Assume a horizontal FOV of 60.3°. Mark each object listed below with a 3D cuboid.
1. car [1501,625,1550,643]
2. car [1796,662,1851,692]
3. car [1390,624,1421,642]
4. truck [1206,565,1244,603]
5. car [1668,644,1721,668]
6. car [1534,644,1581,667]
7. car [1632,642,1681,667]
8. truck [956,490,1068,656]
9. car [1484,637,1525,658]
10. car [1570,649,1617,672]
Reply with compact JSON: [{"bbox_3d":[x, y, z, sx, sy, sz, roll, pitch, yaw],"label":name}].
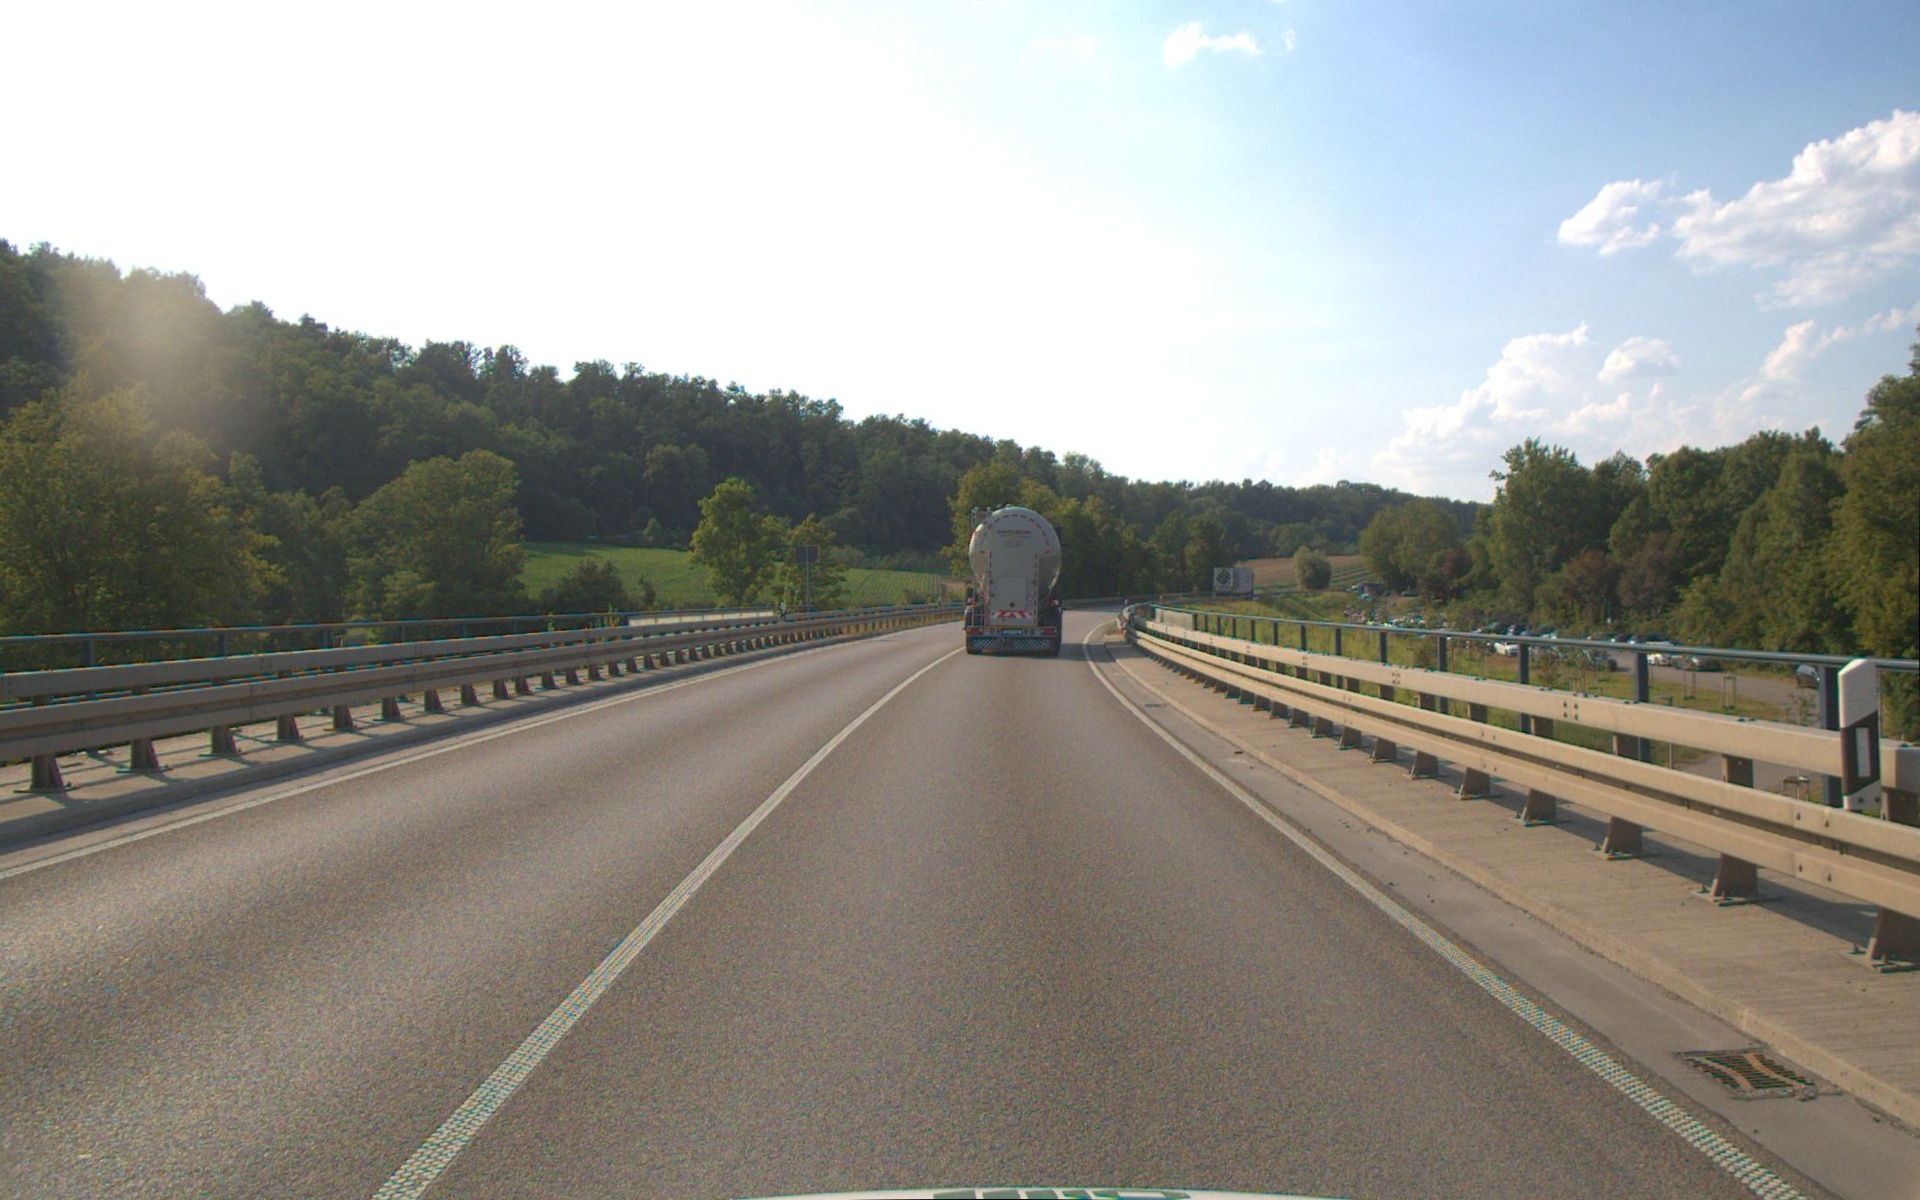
[{"bbox_3d":[55.641,3.348,162.838,4.146,1.632,1.833,1,0,-1],"label":"car"},{"bbox_3d":[50.212,4.460,96.226,1.619,1.523,3.832,0,0,7],"label":"car"},{"bbox_3d":[45.726,3.332,169.712,1.853,1.508,4.783,-3,1,0],"label":"car"},{"bbox_3d":[31.979,-2.008,199.008,3.116,4.301,13.183,0,1,15],"label":"truck"},{"bbox_3d":[50.830,3.854,114.523,1.621,1.523,4.221,0,0,-2],"label":"car"},{"bbox_3d":[45.550,4.233,126.112,1.782,1.425,4.254,-2,1,-4],"label":"car"},{"bbox_3d":[50.882,3.979,120.878,1.620,1.695,4.709,0,0,1],"label":"car"},{"bbox_3d":[1.695,-0.700,49.218,2.832,4.215,13.177,1,0,3],"label":"truck"},{"bbox_3d":[45.404,3.959,137.964,1.782,1.508,4.254,-2,1,-4],"label":"car"},{"bbox_3d":[45.760,4.359,119.556,1.621,1.523,4.221,0,0,-2],"label":"car"}]
